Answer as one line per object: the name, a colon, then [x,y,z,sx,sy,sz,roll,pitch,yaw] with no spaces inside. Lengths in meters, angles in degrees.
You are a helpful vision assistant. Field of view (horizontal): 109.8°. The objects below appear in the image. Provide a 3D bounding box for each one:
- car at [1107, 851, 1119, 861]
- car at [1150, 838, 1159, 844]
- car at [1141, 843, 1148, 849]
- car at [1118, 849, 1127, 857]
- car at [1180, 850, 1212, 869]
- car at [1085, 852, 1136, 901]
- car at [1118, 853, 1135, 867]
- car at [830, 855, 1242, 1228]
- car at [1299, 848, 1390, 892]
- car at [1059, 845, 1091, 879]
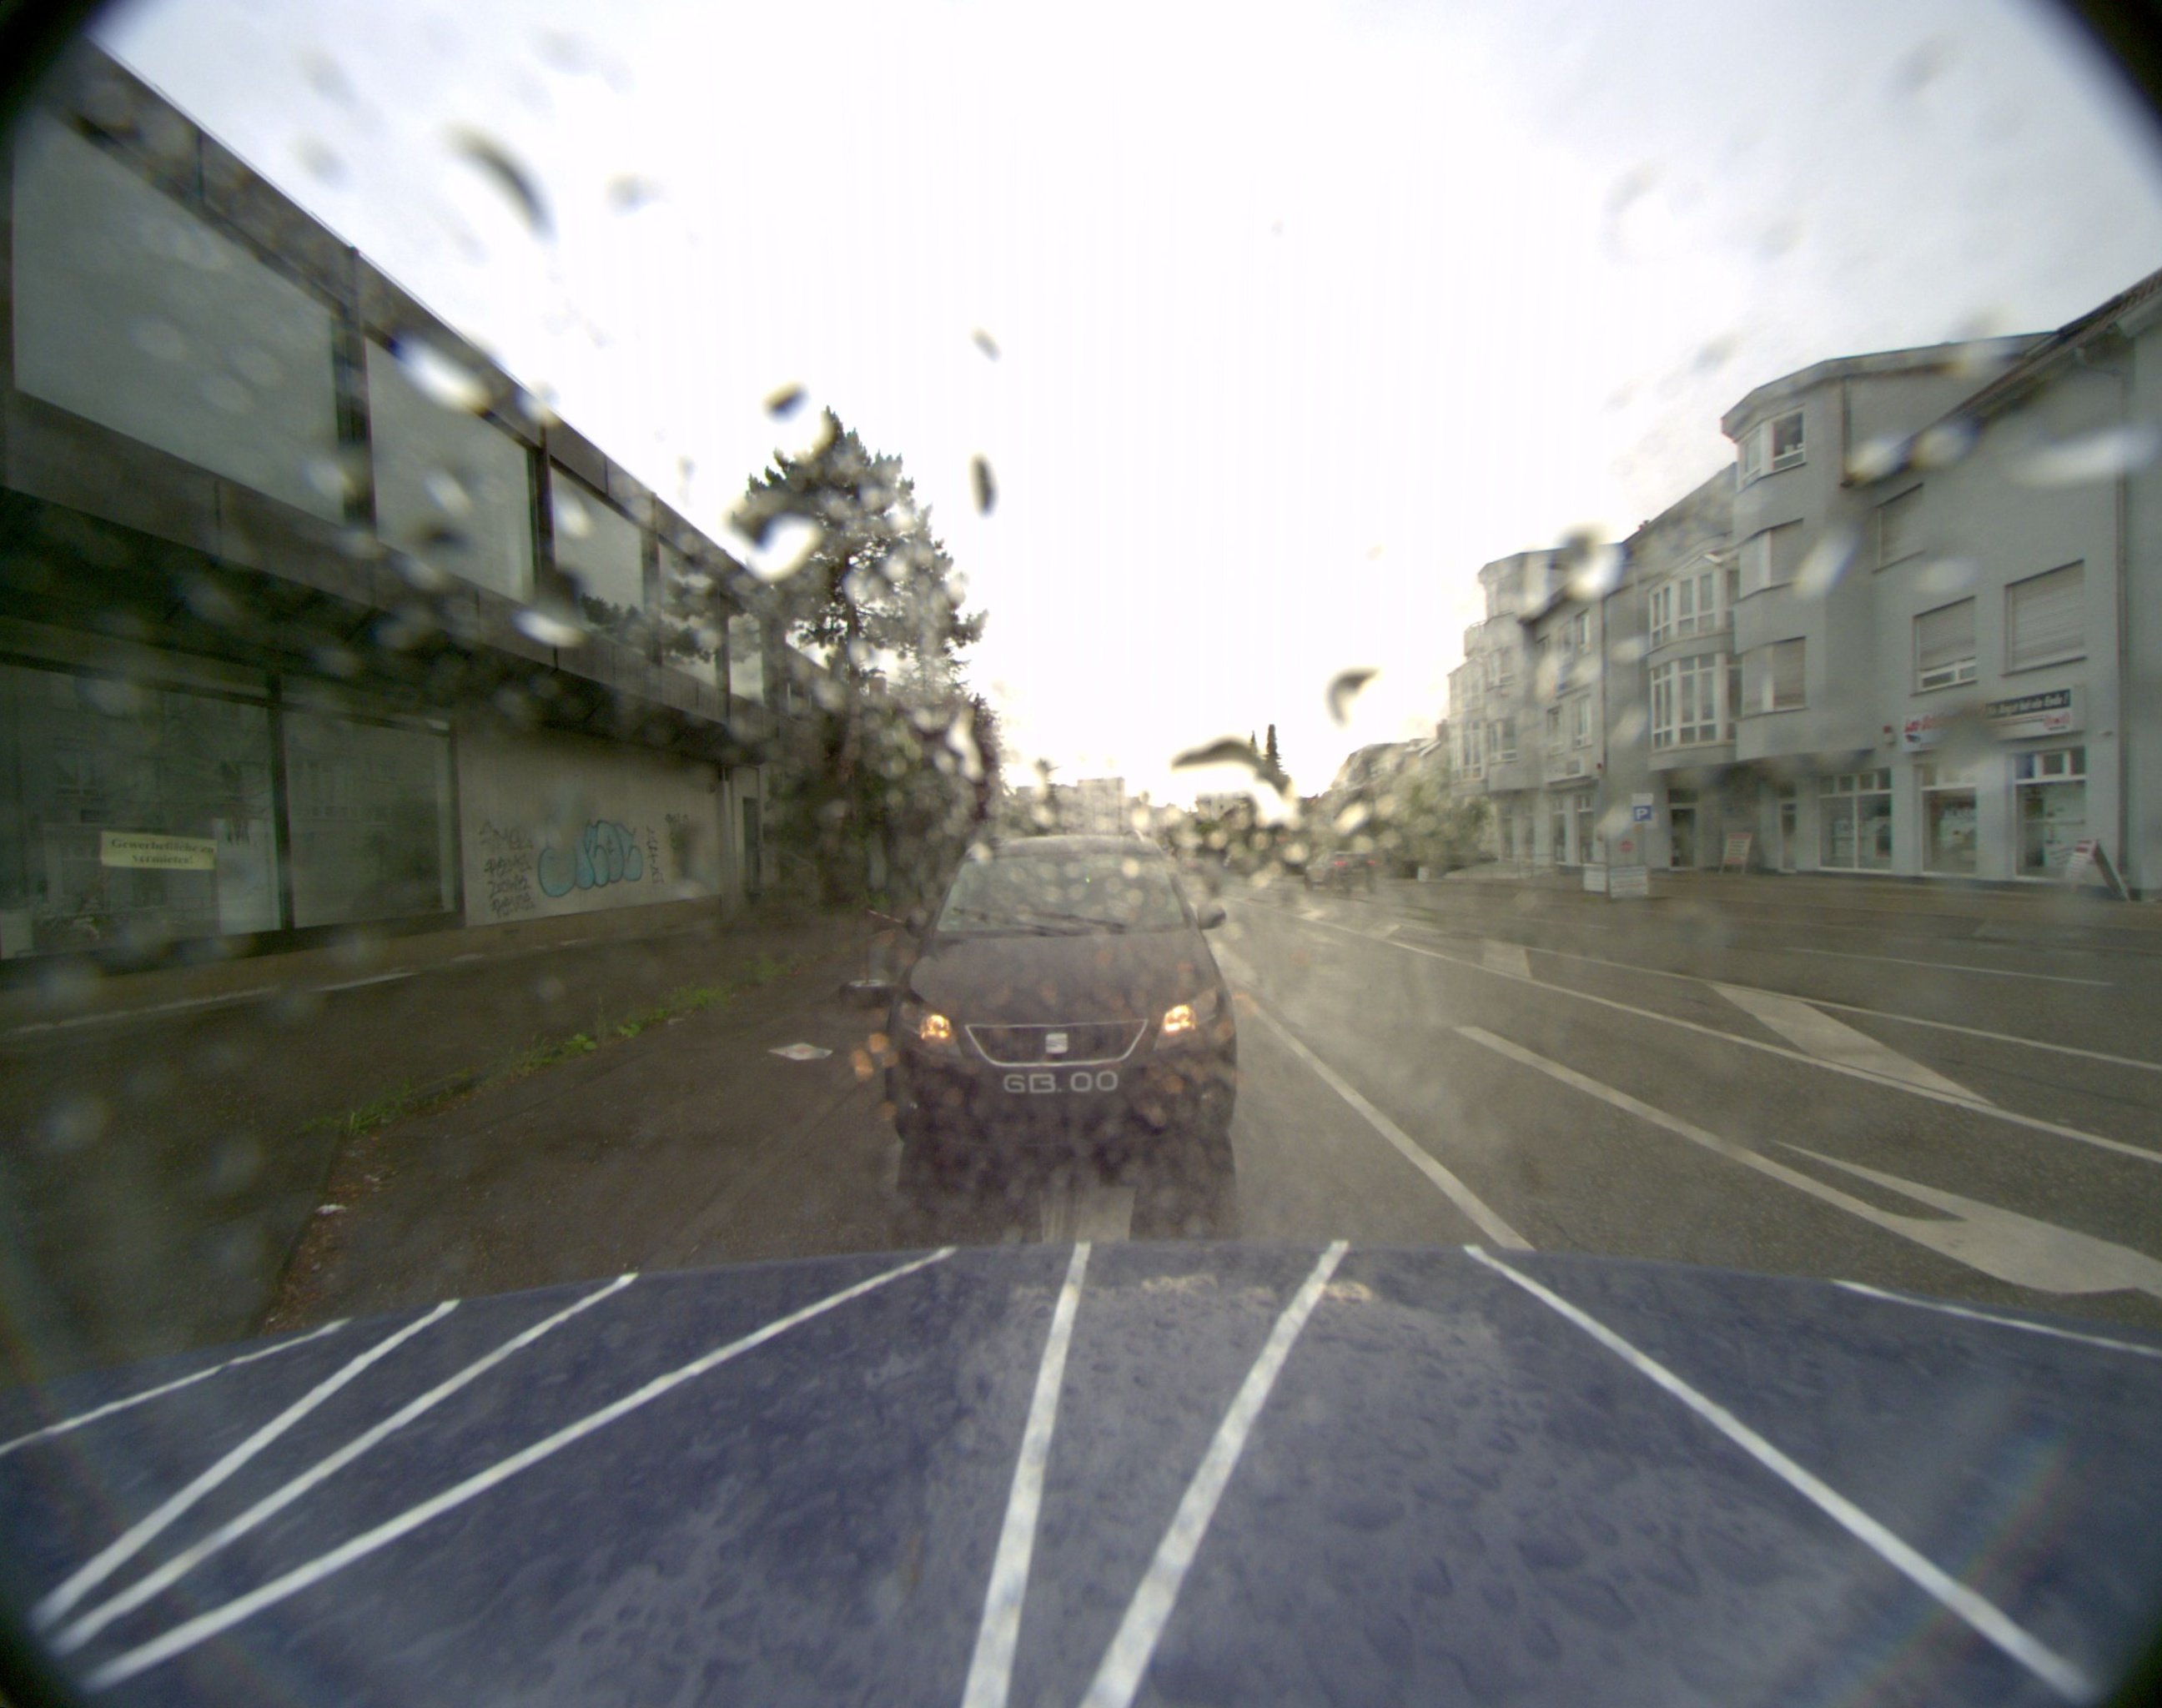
car: [5.665,0.352,133.957,1.998,1.774,3.999,-2,1,1]
car: [23.426,-4.077,241.928,1.996,1.808,4.003,-2,1,14]
car: [17.720,-2.244,212.795,1.998,1.808,4.001,-2,1,4]
car: [9.362,-0.248,171.549,1.998,1.808,3.999,-2,1,1]
car: [10.507,0.504,69.761,1.999,1.615,4.538,-3,0,-1]
car: [1.108,0.830,30.038,1.803,1.675,3.999,-2,1,1]
car: [6.291,0.827,105.588,1.998,1.723,3.999,-2,1,1]
car: [-0.163,0.827,5.639,1.754,1.534,4.676,-1,1,1]
car: [10.085,0.548,29.414,1.972,1.503,3.999,-2,1,-2]
car: [-0.357,0.474,50.413,1.998,2.072,3.999,-2,1,1]
